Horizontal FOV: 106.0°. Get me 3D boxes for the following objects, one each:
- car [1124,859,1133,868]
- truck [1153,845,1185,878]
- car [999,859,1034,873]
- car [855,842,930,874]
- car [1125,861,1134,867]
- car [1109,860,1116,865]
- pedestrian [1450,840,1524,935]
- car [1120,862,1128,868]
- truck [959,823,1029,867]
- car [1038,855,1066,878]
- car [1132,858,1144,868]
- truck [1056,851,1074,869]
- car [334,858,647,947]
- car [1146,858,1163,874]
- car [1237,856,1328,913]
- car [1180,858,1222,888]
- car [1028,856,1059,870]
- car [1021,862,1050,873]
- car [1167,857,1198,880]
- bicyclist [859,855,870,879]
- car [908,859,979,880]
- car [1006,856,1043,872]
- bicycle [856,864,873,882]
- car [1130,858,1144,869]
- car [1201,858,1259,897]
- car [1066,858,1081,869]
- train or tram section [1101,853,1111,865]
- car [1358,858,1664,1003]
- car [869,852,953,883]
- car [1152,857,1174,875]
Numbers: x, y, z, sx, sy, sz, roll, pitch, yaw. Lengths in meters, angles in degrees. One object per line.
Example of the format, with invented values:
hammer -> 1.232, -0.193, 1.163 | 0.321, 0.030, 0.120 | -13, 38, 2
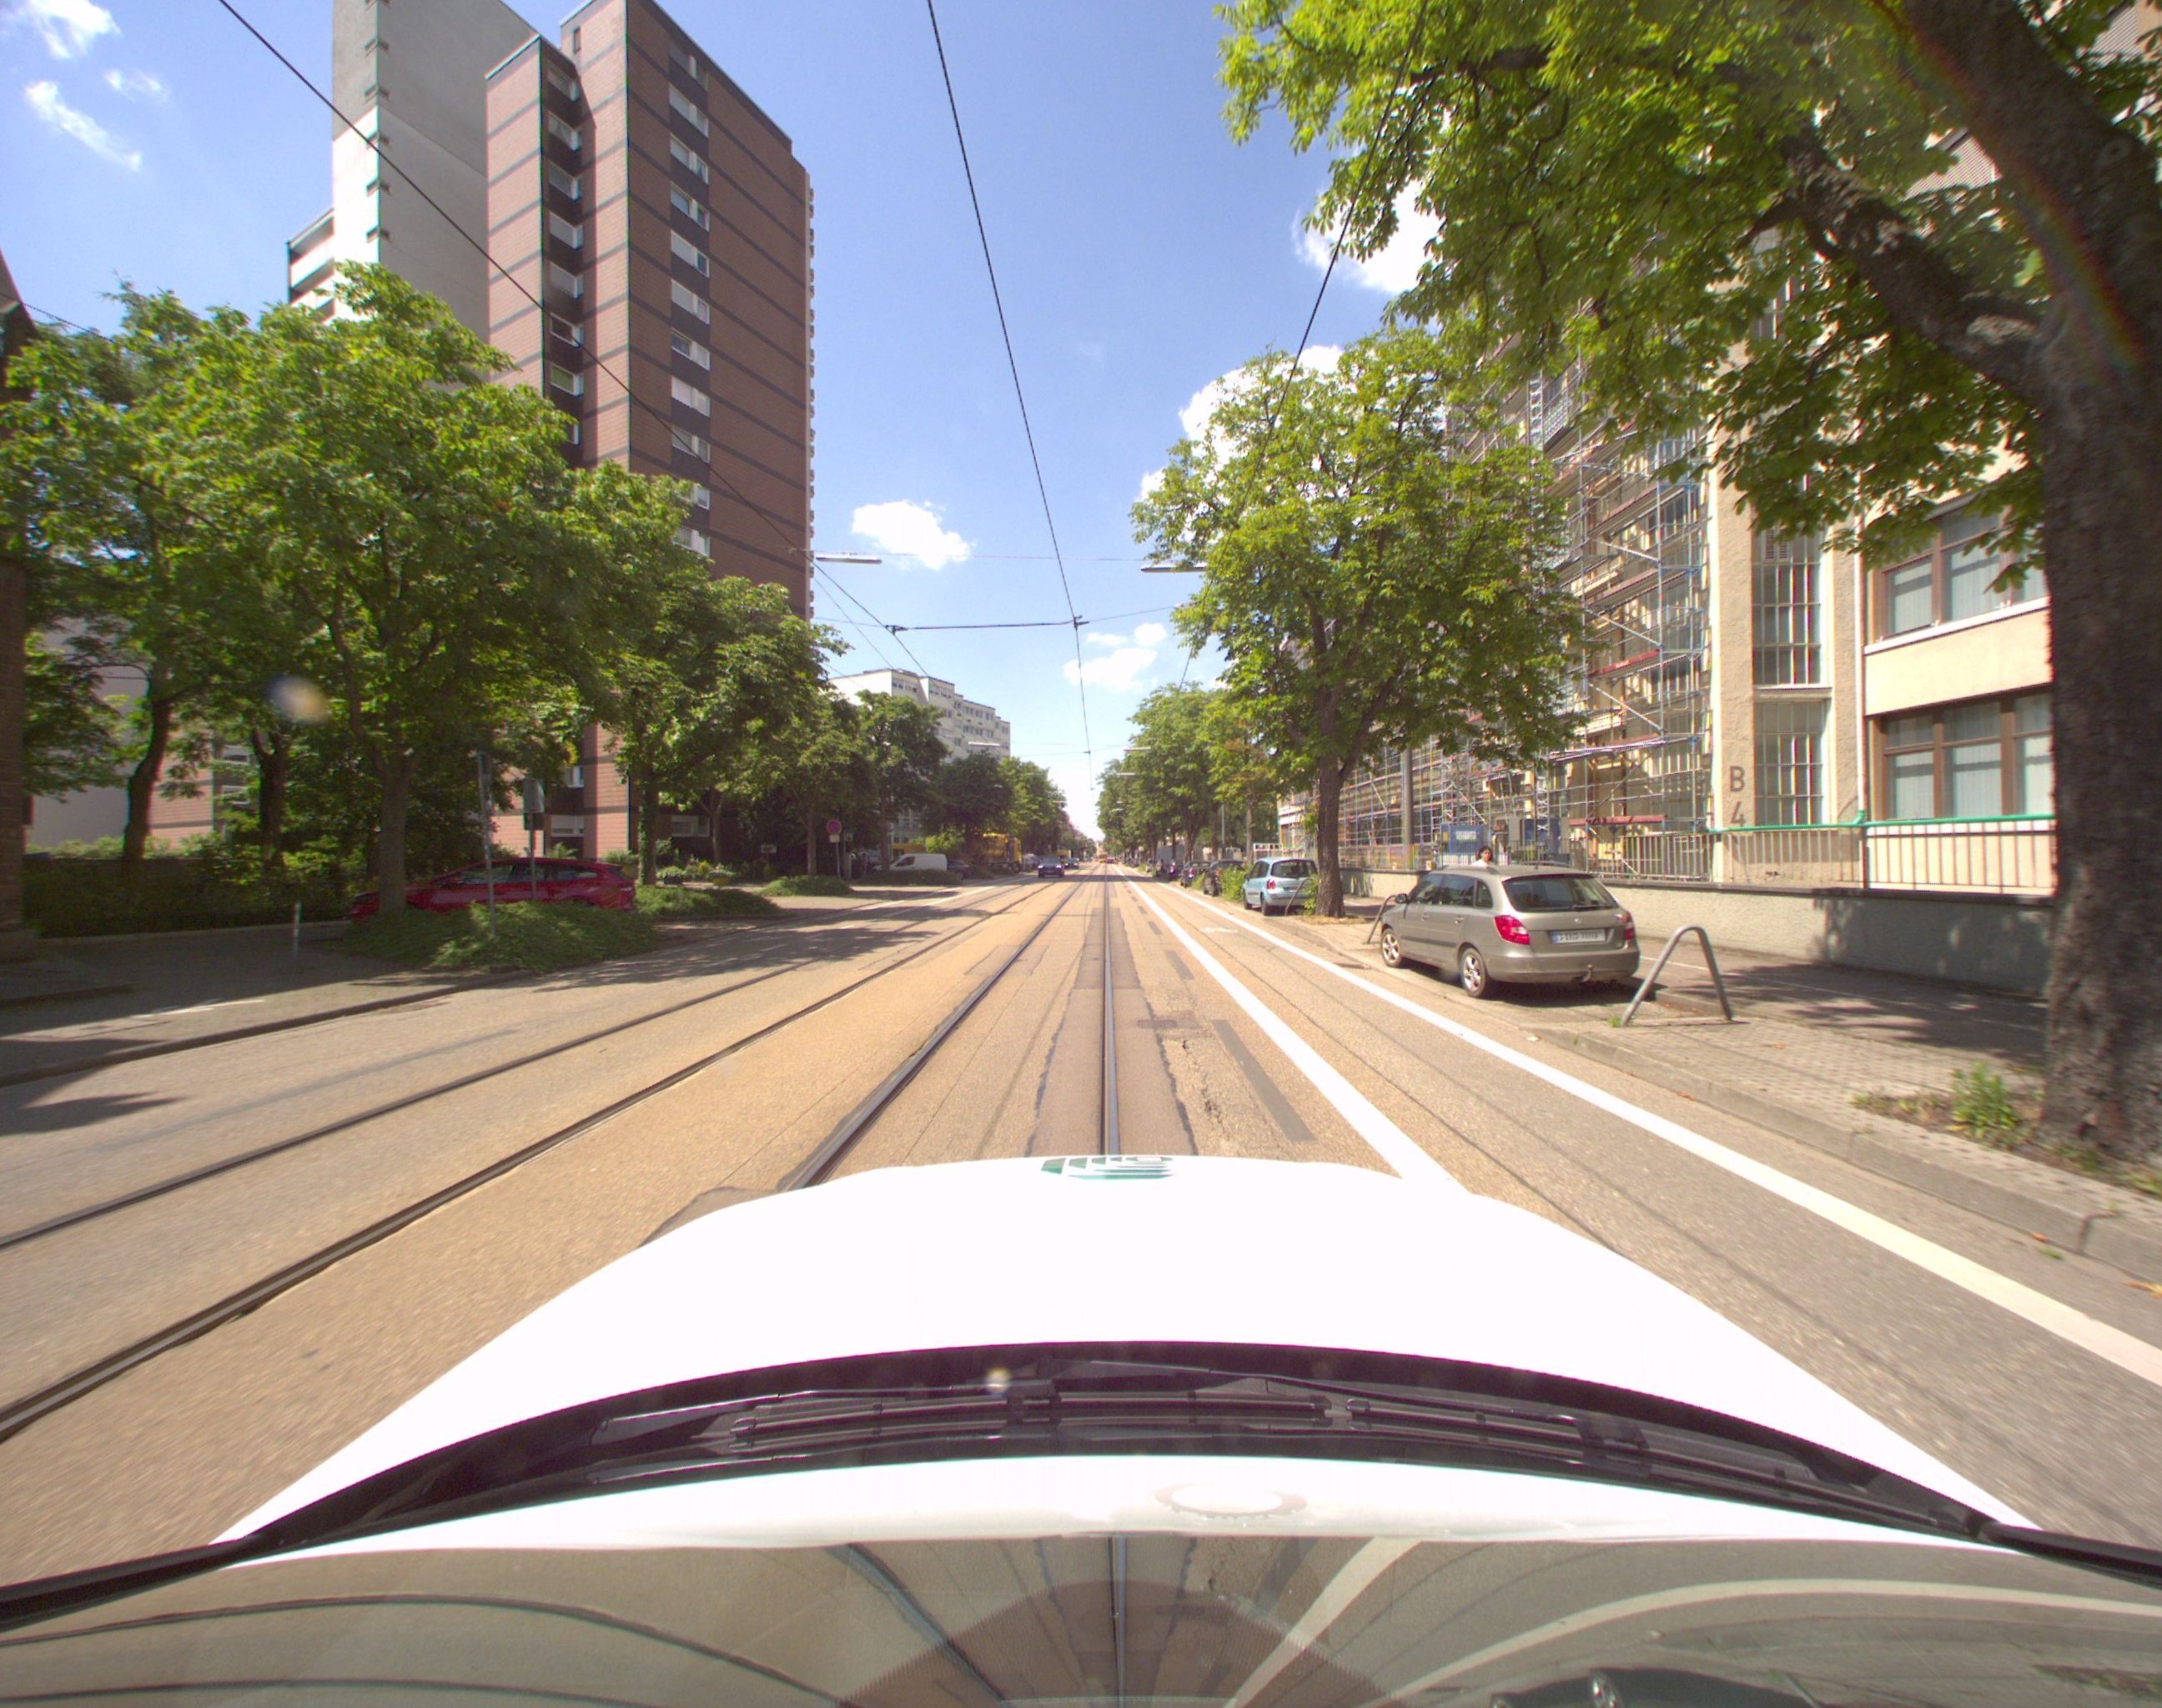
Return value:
car -> 9.374, 1.893, 159.437 | 1.586, 1.617, 3.908 | -1, -1, 1
truck -> 6.980, 0.543, 64.890 | 2.007, 2.489, 5.957 | -1, 0, 1
car -> -7.505, 1.345, 94.788 | 1.740, 1.507, 3.731 | -2, -1, 44
car -> -16.213, 0.394, 70.390 | 2.157, 2.566, 6.765 | -1, -2, 32
car -> 10.619, 2.186, 178.660 | 1.704, 1.423, 4.310 | -1, -1, 1
car -> 7.939, 2.132, 204.818 | 1.774, 1.346, 3.417 | -1, -1, 2
pedestrian -> 7.129, 0.575, 14.340 | 0.797, 1.589, 0.919 | -2, 0, 0
car -> 10.398, 2.655, 196.776 | 1.704, 1.423, 4.310 | -1, -1, 1
truck -> -8.190, -0.750, 78.363 | 2.695, 3.842, 11.009 | 1, -1, 16
car -> -2.223, 0.950, 63.430 | 1.824, 1.681, 4.186 | -1, 0, 2
car -> 9.150, 1.490, 131.051 | 1.869, 1.455, 4.530 | -1, -1, 2
truck -> -2.587, 0.977, 134.484 | 2.350, 2.852, 7.384 | -2, 0, 3
car -> -11.458, 0.859, 16.324 | 4.790, 1.566, 1.984 | 0, 0, -27
car -> 7.615, 1.243, 84.441 | 1.637, 1.534, 3.788 | -1, 0, 3
car -> 5.765, 0.817, 23.746 | 1.665, 1.517, 4.202 | -1, 0, 1
car -> 6.333, 0.973, 43.406 | 1.817, 1.471, 4.490 | -1, 0, 3
car -> -6.229, 1.510, 134.103 | 4.785, 2.062, 2.004 | -2, -1, -37
car -> -6.754, 2.041, 121.346 | 1.740, 1.433, 4.024 | -4, -1, 44
car -> 6.747, 0.944, 54.280 | 1.816, 1.471, 4.405 | -1, 0, 4
bicyclist -> -13.450, 0.821, 50.640 | 0.479, 1.481, 0.780 | 1, 0, 0
car -> -9.367, 1.072, 55.767 | 4.467, 1.394, 1.753 | 1, 0, -37
car -> -7.421, 1.281, 107.979 | 1.898, 1.935, 4.785 | -3, -1, 44
bicycle -> -13.463, 1.181, 50.718 | 0.516, 1.047, 1.876 | 1, 0, 0
car -> 8.126, 1.359, 118.256 | 1.634, 1.485, 3.870 | -1, -1, -1
car -> 5.960, 0.911, 33.061 | 1.665, 1.438, 4.042 | -1, 0, 1
car -> -0.983, 1.272, 109.399 | 1.767, 1.397, 4.289 | -1, 0, 2
train or tram section -> 7.823, 1.515, 253.848 | 3.023, 3.438, 11.977 | -1, 0, 3
car -> 5.279, 0.810, 10.766 | 1.666, 1.499, 4.363 | -1, 0, -1
car -> -10.154, 0.824, 48.857 | 4.563, 1.791, 1.882 | 1, 0, -31
car -> 7.252, 1.071, 72.599 | 1.638, 1.534, 3.948 | -1, 0, 1
